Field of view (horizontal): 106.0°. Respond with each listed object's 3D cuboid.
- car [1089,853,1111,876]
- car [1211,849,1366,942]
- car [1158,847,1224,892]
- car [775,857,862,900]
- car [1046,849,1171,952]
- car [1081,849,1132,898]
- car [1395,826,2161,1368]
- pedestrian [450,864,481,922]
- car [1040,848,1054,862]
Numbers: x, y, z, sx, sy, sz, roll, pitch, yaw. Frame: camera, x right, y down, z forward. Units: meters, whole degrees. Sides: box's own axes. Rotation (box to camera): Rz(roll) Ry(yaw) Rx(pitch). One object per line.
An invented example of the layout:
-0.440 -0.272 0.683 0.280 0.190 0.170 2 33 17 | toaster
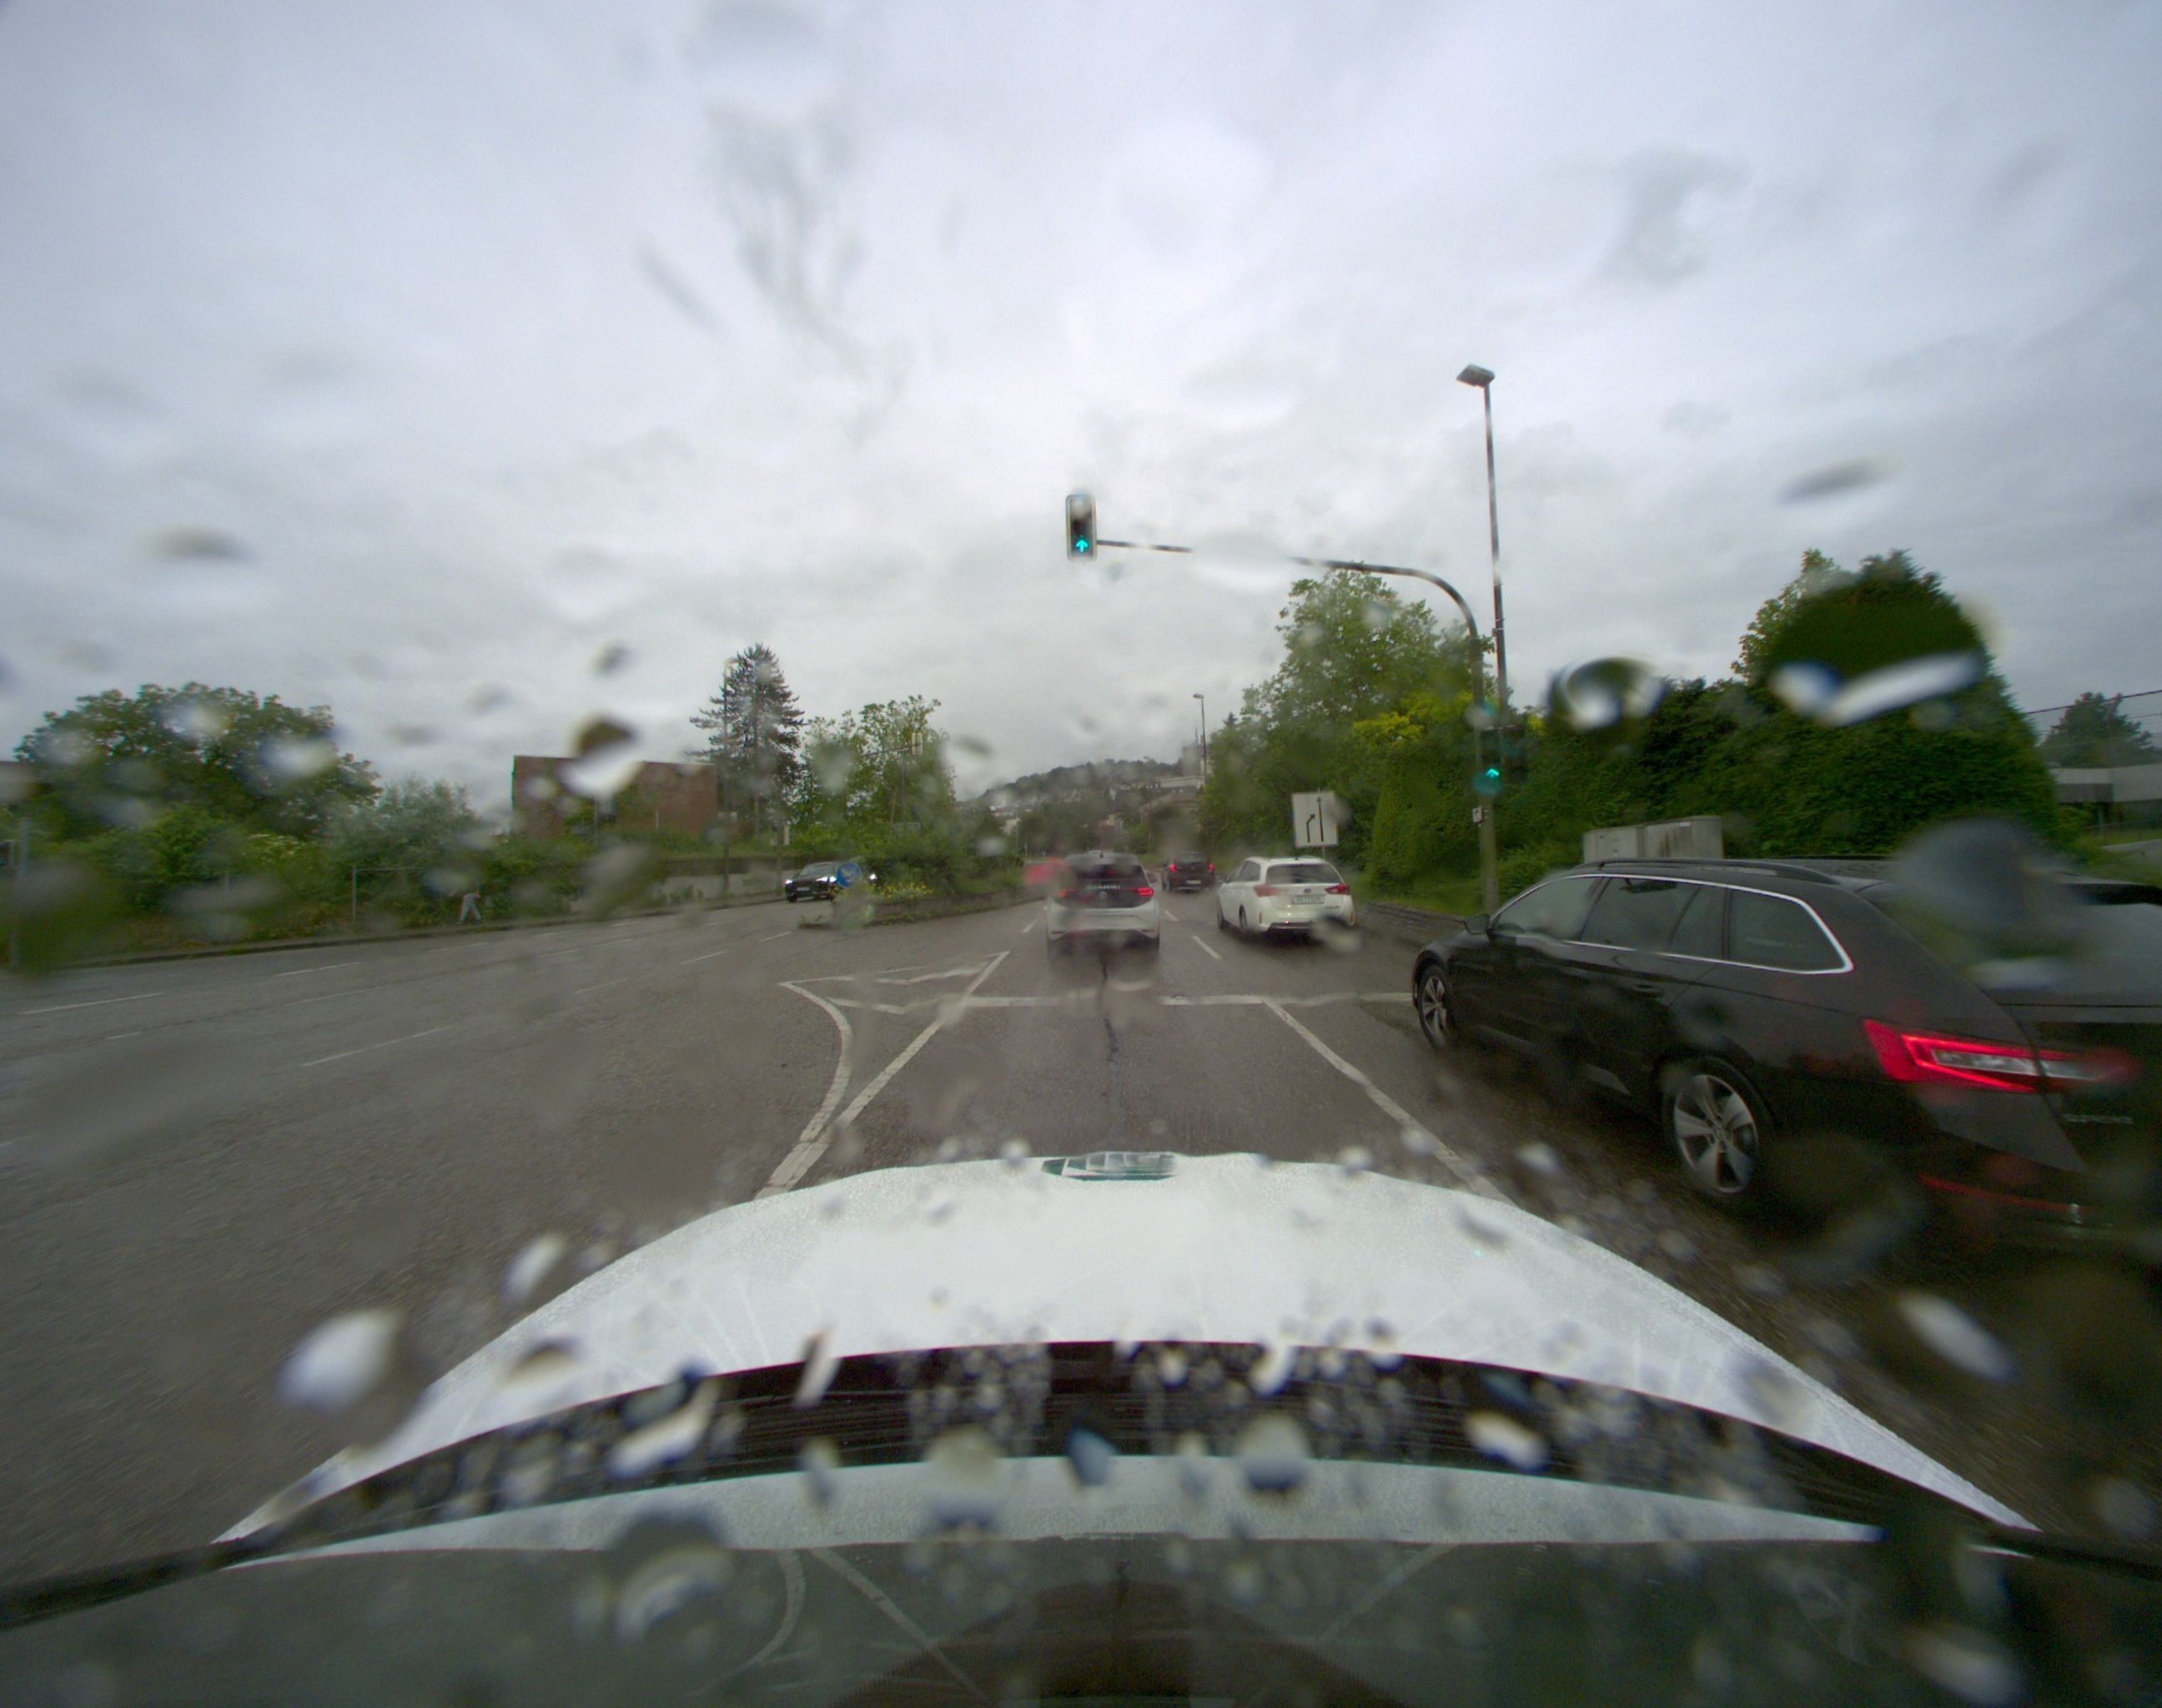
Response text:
1.731 0.959 73.848 1.986 2.014 4.001 0 -1 2 | car
3.567 0.665 14.802 1.841 1.410 4.303 -1 -1 2 | car
4.053 0.555 30.550 1.986 1.453 3.772 -4 -1 2 | car
-10.569 0.956 33.143 1.943 1.478 4.297 -4 -1 2 | car
0.472 0.715 14.145 1.822 1.500 4.170 -1 -1 2 | car
0.807 0.615 27.869 1.562 1.530 3.998 -1 0 -1 | car
3.545 0.716 4.581 1.946 1.507 4.611 1 -1 2 | car
-18.049 1.137 23.892 0.546 1.642 0.503 -4 -1 32 | pedestrian
-5.146 0.128 123.139 1.987 2.014 3.999 0 -1 0 | car
